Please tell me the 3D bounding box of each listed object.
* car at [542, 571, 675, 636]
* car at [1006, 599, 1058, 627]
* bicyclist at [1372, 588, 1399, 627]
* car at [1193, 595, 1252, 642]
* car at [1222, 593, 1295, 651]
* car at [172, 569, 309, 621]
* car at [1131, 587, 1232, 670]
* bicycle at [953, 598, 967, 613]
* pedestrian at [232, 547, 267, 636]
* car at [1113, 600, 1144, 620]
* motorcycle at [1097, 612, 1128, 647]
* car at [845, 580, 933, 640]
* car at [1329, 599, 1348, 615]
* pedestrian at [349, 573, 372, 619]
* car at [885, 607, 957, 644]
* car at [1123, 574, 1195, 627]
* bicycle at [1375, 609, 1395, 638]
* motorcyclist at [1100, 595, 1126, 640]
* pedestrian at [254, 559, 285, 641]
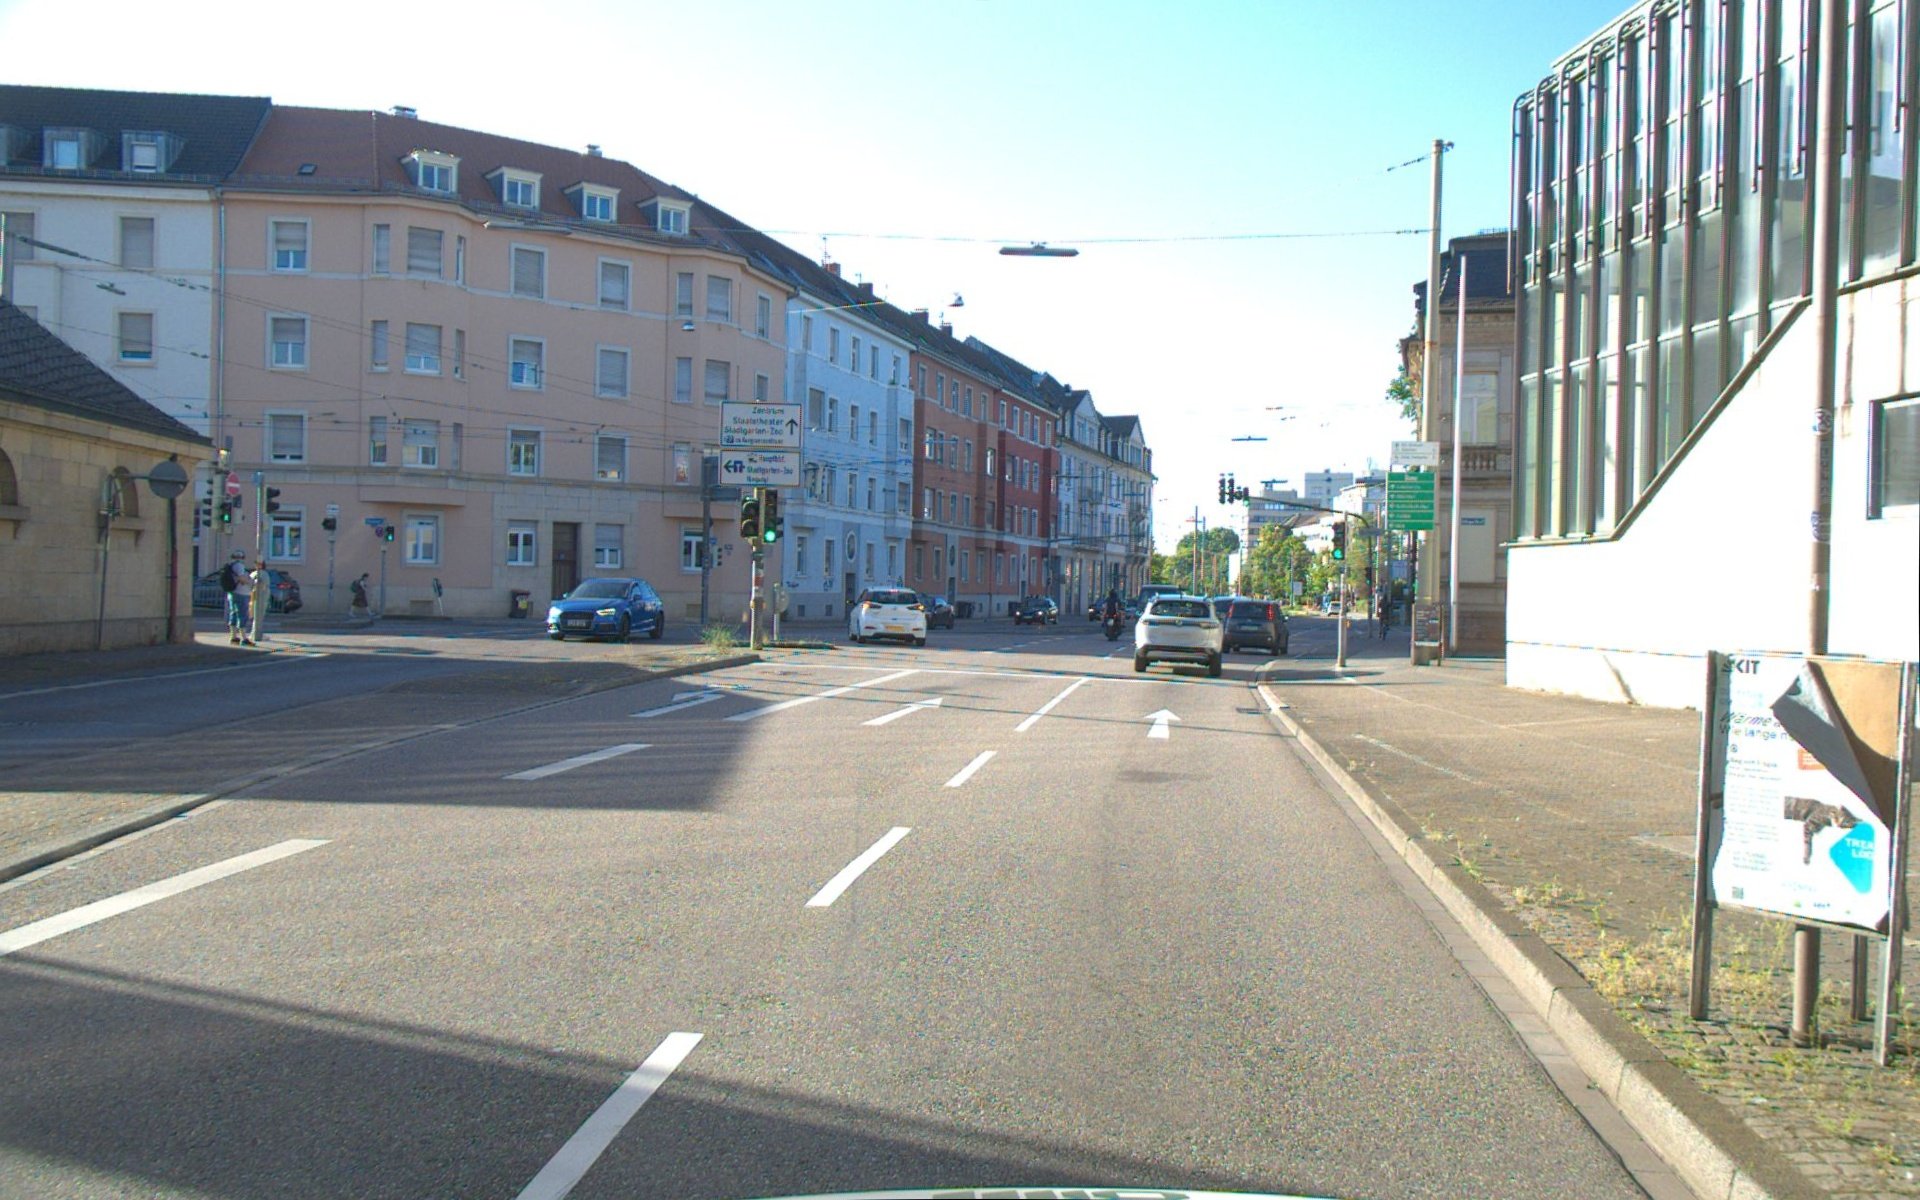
[{"bbox_3d":[-8.246,0.068,39.153,1.772,1.415,4.250,2,0,7],"label":"car"},{"bbox_3d":[3.991,0.715,91.112,1.951,1.416,4.565,1,0,14],"label":"car"},{"bbox_3d":[17.194,0.302,66.859,0.816,1.551,0.994,2,0,3],"label":"bicyclist"},{"bbox_3d":[9.620,0.658,60.445,1.775,1.610,4.003,1,0,14],"label":"car"},{"bbox_3d":[8.629,0.606,47.602,1.694,1.526,4.003,2,0,15],"label":"car"},{"bbox_3d":[-23.889,-0.175,55.027,3.800,1.601,1.925,2,0,-12],"label":"car"},{"bbox_3d":[4.580,0.545,34.248,1.906,1.555,4.093,2,0,8],"label":"car"},{"bbox_3d":[0.005,0.319,101.713,0.327,0.906,1.604,1,0,20],"label":"bicycle"},{"bbox_3d":[-13.655,-0.163,31.780,0.508,1.668,0.619,2,0,-31],"label":"pedestrian"},{"bbox_3d":[12.144,0.732,118.962,1.689,1.399,3.537,1,0,15],"label":"car"},{"bbox_3d":[5.067,0.955,54.839,0.760,1.101,2.283,1,0,11],"label":"motorcycle"},{"bbox_3d":[-1.890,0.229,42.680,1.754,1.418,4.096,1,0,-9],"label":"car"},{"bbox_3d":[42.412,0.761,185.229,1.951,1.691,4.500,2,0,15],"label":"car"},{"bbox_3d":[-21.358,-0.145,58.930,0.707,1.591,0.673,2,0,-20],"label":"pedestrian"},{"bbox_3d":[-1.617,1.038,69.718,1.785,1.450,4.330,2,0,16],"label":"car"},{"bbox_3d":[8.075,0.032,66.822,2.126,2.044,4.811,1,0,16],"label":"car"},{"bbox_3d":[17.172,0.937,66.792,0.754,1.105,1.872,1,0,15],"label":"bicycle"},{"bbox_3d":[5.068,0.576,54.758,0.760,1.448,0.892,1,0,11],"label":"motorcyclist"},{"bbox_3d":[-14.287,-0.005,34.217,0.482,1.668,0.619,2,0,-31],"label":"pedestrian"}]
